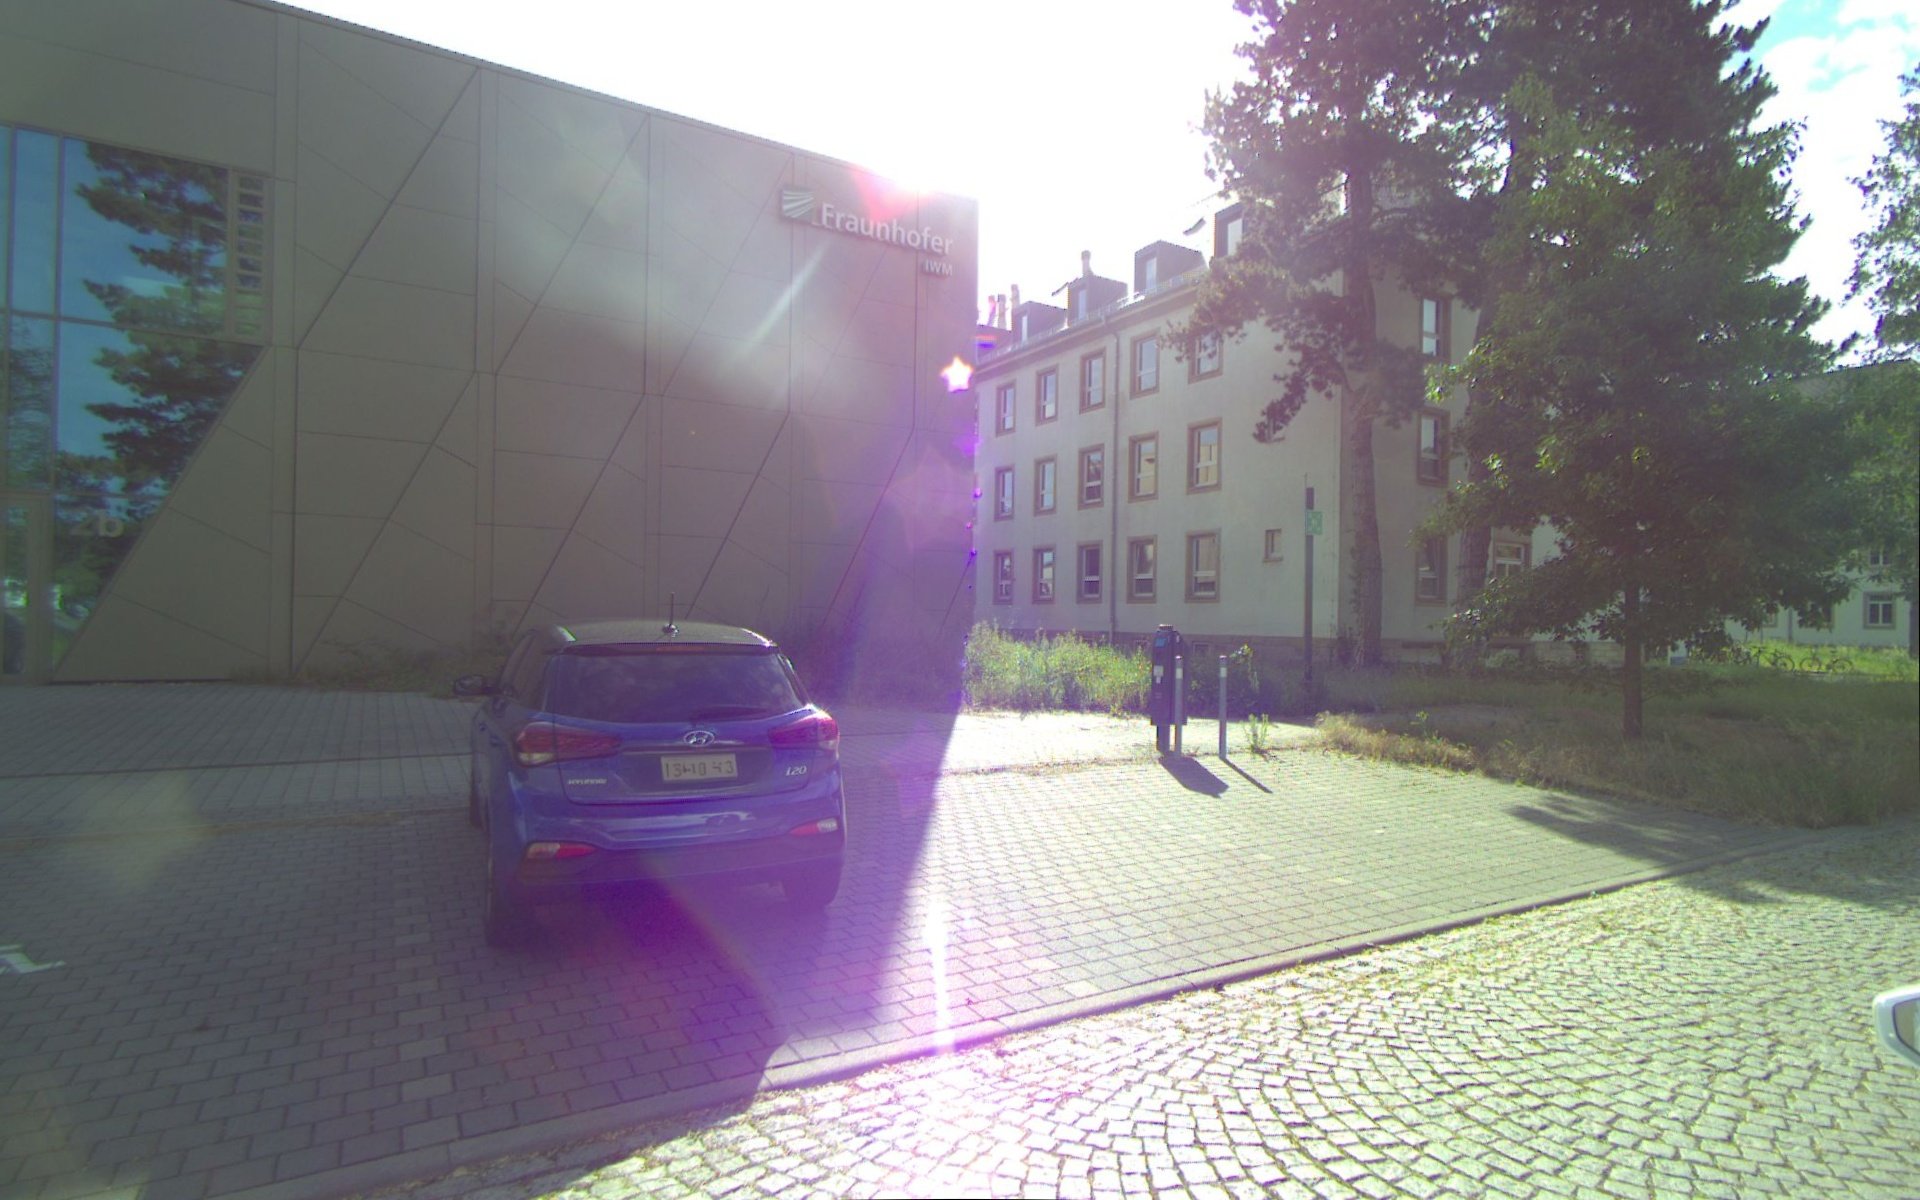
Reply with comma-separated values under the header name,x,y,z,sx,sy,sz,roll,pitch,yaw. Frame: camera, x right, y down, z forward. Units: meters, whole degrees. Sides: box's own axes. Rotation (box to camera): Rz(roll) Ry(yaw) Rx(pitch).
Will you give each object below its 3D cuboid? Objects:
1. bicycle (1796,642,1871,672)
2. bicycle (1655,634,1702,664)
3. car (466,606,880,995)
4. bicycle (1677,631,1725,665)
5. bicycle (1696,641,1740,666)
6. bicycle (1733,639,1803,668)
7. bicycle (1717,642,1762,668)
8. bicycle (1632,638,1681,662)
name,x,y,z,sx,sy,sz,roll,pitch,yaw
bicycle,34.304,2.227,39.483,0.820,1.061,2.104,2,-1,-33
bicycle,32.343,2.189,45.201,2.524,1.298,0.822,2,-1,-31
car,-2.032,0.851,6.172,1.698,1.483,3.820,2,0,-27
bicycle,32.982,2.116,44.688,2.524,1.456,0.822,2,-1,-31
bicycle,33.082,2.329,43.826,2.100,1.061,0.822,2,-1,-31
bicycle,33.172,2.196,41.272,0.820,1.123,2.104,2,-1,-33
bicycle,33.506,2.342,43.172,2.100,1.061,0.822,2,-1,-31
bicycle,31.894,2.295,45.980,2.524,1.061,0.896,2,-1,-31
